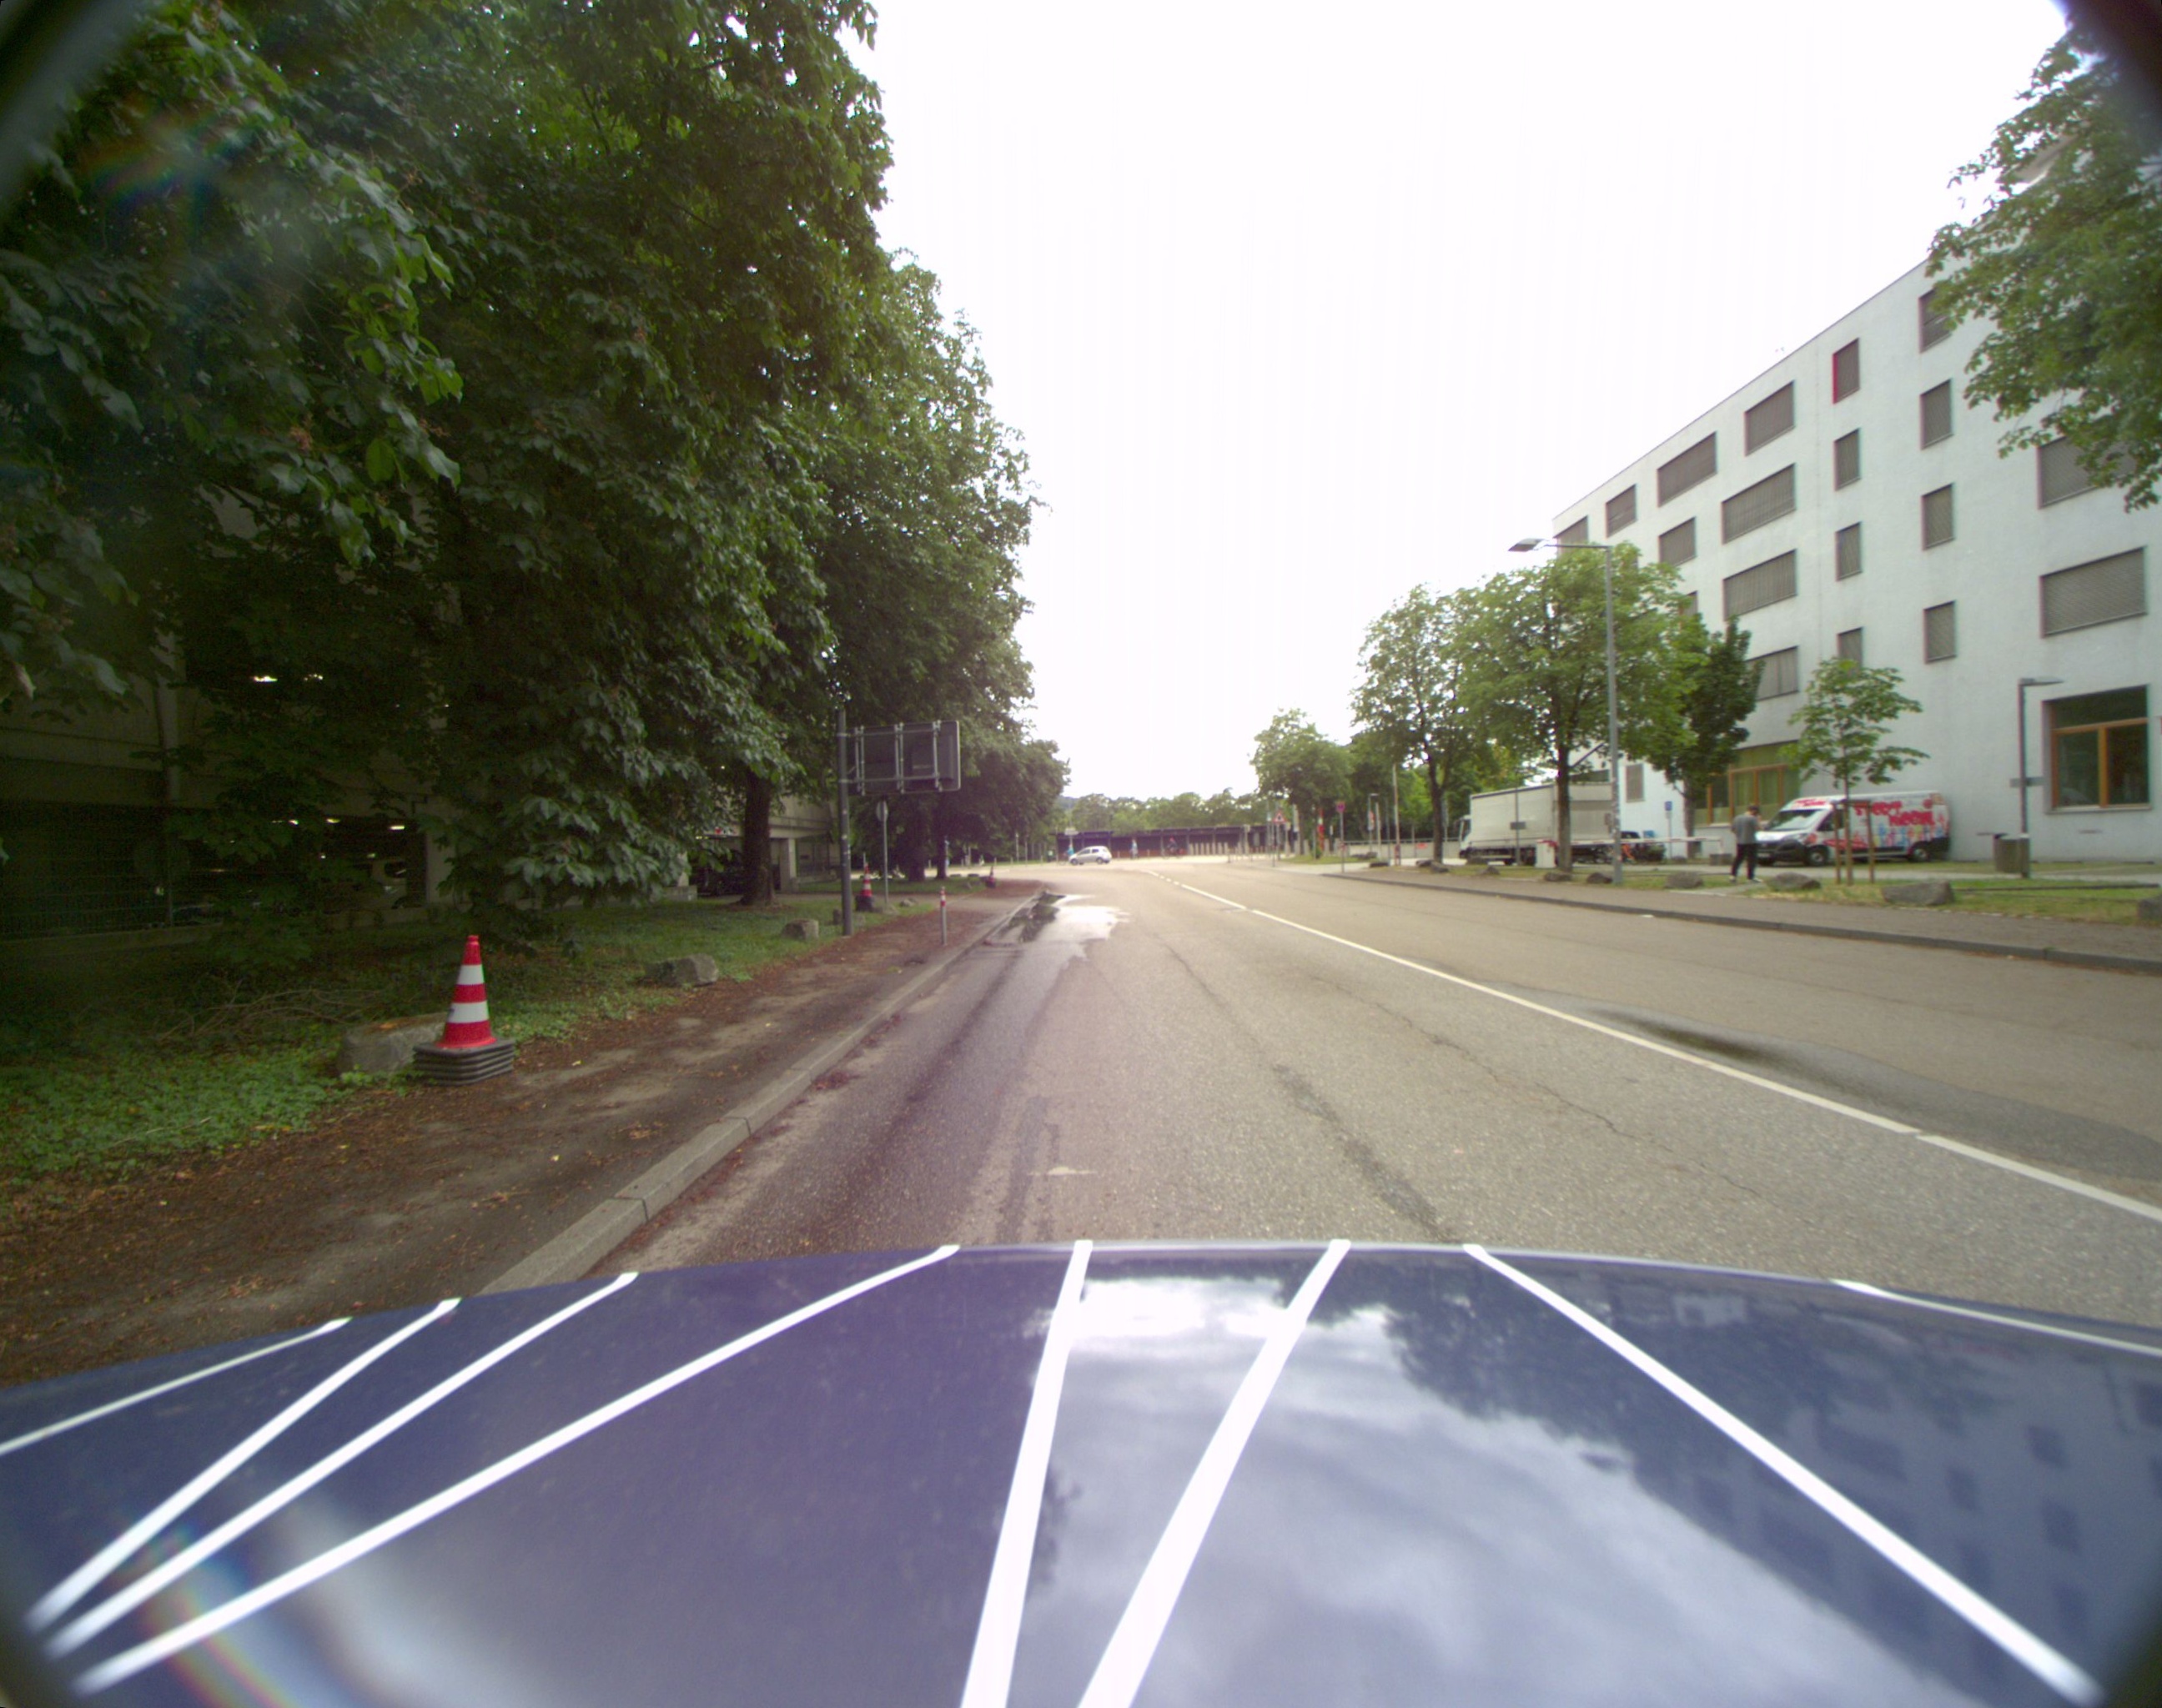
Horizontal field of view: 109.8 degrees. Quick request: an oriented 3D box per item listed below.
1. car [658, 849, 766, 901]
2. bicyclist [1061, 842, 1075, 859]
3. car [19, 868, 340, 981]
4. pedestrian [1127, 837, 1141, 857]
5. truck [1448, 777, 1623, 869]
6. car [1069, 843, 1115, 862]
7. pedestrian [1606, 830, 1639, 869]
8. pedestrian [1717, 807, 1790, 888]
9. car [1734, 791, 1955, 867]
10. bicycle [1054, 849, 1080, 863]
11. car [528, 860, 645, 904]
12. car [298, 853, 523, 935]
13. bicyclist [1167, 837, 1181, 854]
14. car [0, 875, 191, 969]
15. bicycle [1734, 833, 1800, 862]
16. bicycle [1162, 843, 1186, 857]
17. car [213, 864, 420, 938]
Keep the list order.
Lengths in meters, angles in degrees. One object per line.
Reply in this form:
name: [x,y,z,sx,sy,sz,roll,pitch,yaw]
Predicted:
car: [-14.668,0.758,30.570,1.924,1.824,4.735,-3,1,0]
bicyclist: [-1.131,-0.301,68.356,1.159,1.422,0.742,-3,2,-3]
car: [-17.485,1.265,15.083,1.589,1.699,3.856,-3,2,1]
pedestrian: [5.079,-0.675,72.585,1.200,1.824,0.927,-3,3,4]
truck: [20.396,-1.349,34.866,2.684,3.580,8.361,-3,2,-2]
car: [0.942,-0.120,64.960,3.495,1.448,1.609,-2,2,23]
pedestrian: [23.165,-0.206,32.510,0.679,1.597,0.887,-3,2,-7]
pedestrian: [14.419,-0.150,16.302,0.846,1.662,0.786,-3,2,-8]
car: [26.592,-0.872,26.609,5.640,2.266,2.078,-3,2,0]
bicycle: [-1.236,0.142,68.368,2.257,1.117,0.748,-3,2,-3]
car: [-20.020,1.073,30.983,1.876,1.445,4.000,-3,2,4]
car: [-17.260,0.933,19.950,1.589,1.699,4.666,-3,2,1]
bicyclist: [8.385,-0.756,68.568,1.101,1.487,0.927,-3,3,-4]
car: [-20.383,1.321,14.765,1.721,1.537,3.700,-3,2,-1]
bicycle: [27.607,-0.266,30.588,2.029,1.064,0.613,-3,2,4]
bicycle: [8.388,-0.357,68.584,2.051,1.137,0.777,-3,3,-4]
car: [-20.276,1.169,20.410,1.721,1.577,3.690,-3,2,-1]
